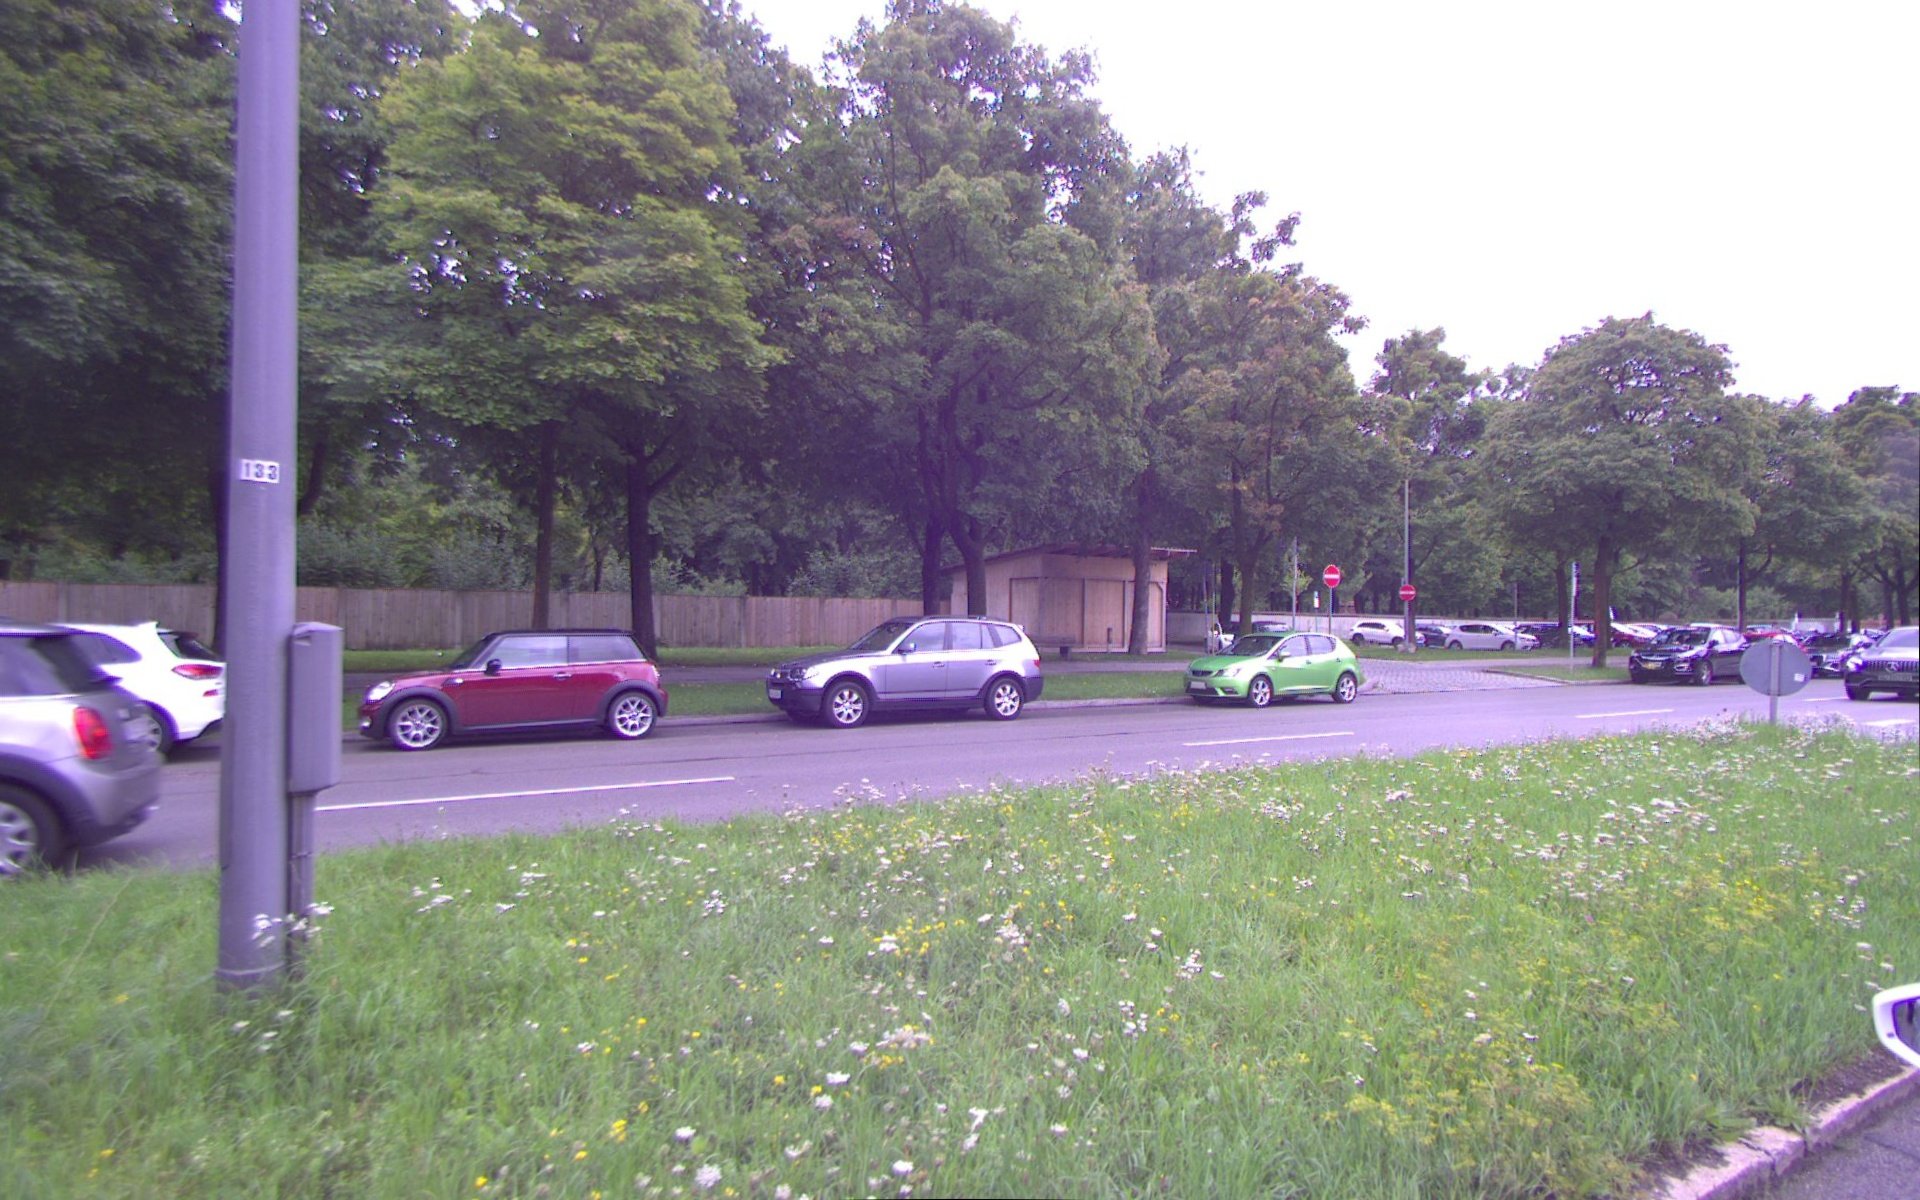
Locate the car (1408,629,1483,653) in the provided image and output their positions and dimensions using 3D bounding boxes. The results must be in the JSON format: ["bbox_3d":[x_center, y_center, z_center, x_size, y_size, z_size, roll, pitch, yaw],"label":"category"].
[{"bbox_3d":[30.492,2.574,63.174,1.852,1.391,3.975,1,-1,-25],"label":"car"}]

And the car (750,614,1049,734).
[{"bbox_3d":[-0.902,1.086,15.846,4.405,1.652,1.812,1,-2,-31],"label":"car"}]

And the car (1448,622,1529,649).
[{"bbox_3d":[35.373,2.373,67.359,1.977,1.647,4.483,1,-1,-30],"label":"car"}]

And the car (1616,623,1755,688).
[{"bbox_3d":[20.908,1.585,28.923,4.193,1.722,1.812,3,-1,-32],"label":"car"}]

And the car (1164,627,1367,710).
[{"bbox_3d":[6.137,1.306,20.071,3.952,1.519,1.633,1,-2,-30],"label":"car"}]

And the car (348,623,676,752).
[{"bbox_3d":[-5.671,1.052,12.886,3.643,1.440,1.642,1,-3,-30],"label":"car"}]

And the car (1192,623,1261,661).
[{"bbox_3d":[10.819,1.678,41.052,1.822,1.428,3.859,1,-1,0],"label":"car"}]

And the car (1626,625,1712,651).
[{"bbox_3d":[43.871,2.331,62.194,1.980,1.461,3.960,1,-1,-35],"label":"car"}]

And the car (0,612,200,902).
[{"bbox_3d":[-6.212,0.778,4.937,3.723,1.400,1.710,1,-3,-31],"label":"car"}]

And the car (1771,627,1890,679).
[{"bbox_3d":[29.450,1.771,33.975,4.063,1.620,1.813,1,-1,-30],"label":"car"}]

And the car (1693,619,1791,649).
[{"bbox_3d":[43.759,1.871,56.273,1.792,1.591,3.970,1,-1,-28],"label":"car"}]

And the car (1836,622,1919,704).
[{"bbox_3d":[20.988,1.302,21.721,4.449,1.610,1.812,1,0,-31],"label":"car"}]

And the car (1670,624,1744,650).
[{"bbox_3d":[62.012,3.053,83.440,1.977,2.061,4.483,1,-1,-30],"label":"car"}]

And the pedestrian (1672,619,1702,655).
[{"bbox_3d":[31.928,1.619,44.122,0.846,1.515,0.791,1,-1,-30],"label":"pedestrian"}]

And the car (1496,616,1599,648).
[{"bbox_3d":[28.999,1.554,49.664,1.980,1.461,3.960,1,-1,-35],"label":"car"}]

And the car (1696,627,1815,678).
[{"bbox_3d":[25.221,1.669,31.830,3.768,1.499,1.812,3,-1,-32],"label":"car"}]

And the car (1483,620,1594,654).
[{"bbox_3d":[27.420,1.730,47.715,1.978,1.461,4.112,1,-1,-32],"label":"car"}]

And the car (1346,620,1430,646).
[{"bbox_3d":[26.117,1.978,61.387,1.976,1.461,4.486,1,-1,-29],"label":"car"}]

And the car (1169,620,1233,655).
[{"bbox_3d":[10.776,1.635,45.272,1.822,1.428,4.469,1,-1,0],"label":"car"}]

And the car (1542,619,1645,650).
[{"bbox_3d":[31.982,1.727,50.784,1.980,1.461,3.960,1,-1,-35],"label":"car"}]

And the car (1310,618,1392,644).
[{"bbox_3d":[23.654,1.873,60.911,1.974,1.461,4.490,1,-1,-26],"label":"car"}]

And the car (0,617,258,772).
[{"bbox_3d":[-9.945,0.952,10.390,4.209,1.496,1.813,1,-3,-30],"label":"car"}]

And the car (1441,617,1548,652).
[{"bbox_3d":[24.708,1.577,46.525,1.980,1.461,3.960,1,-1,-35],"label":"car"}]
